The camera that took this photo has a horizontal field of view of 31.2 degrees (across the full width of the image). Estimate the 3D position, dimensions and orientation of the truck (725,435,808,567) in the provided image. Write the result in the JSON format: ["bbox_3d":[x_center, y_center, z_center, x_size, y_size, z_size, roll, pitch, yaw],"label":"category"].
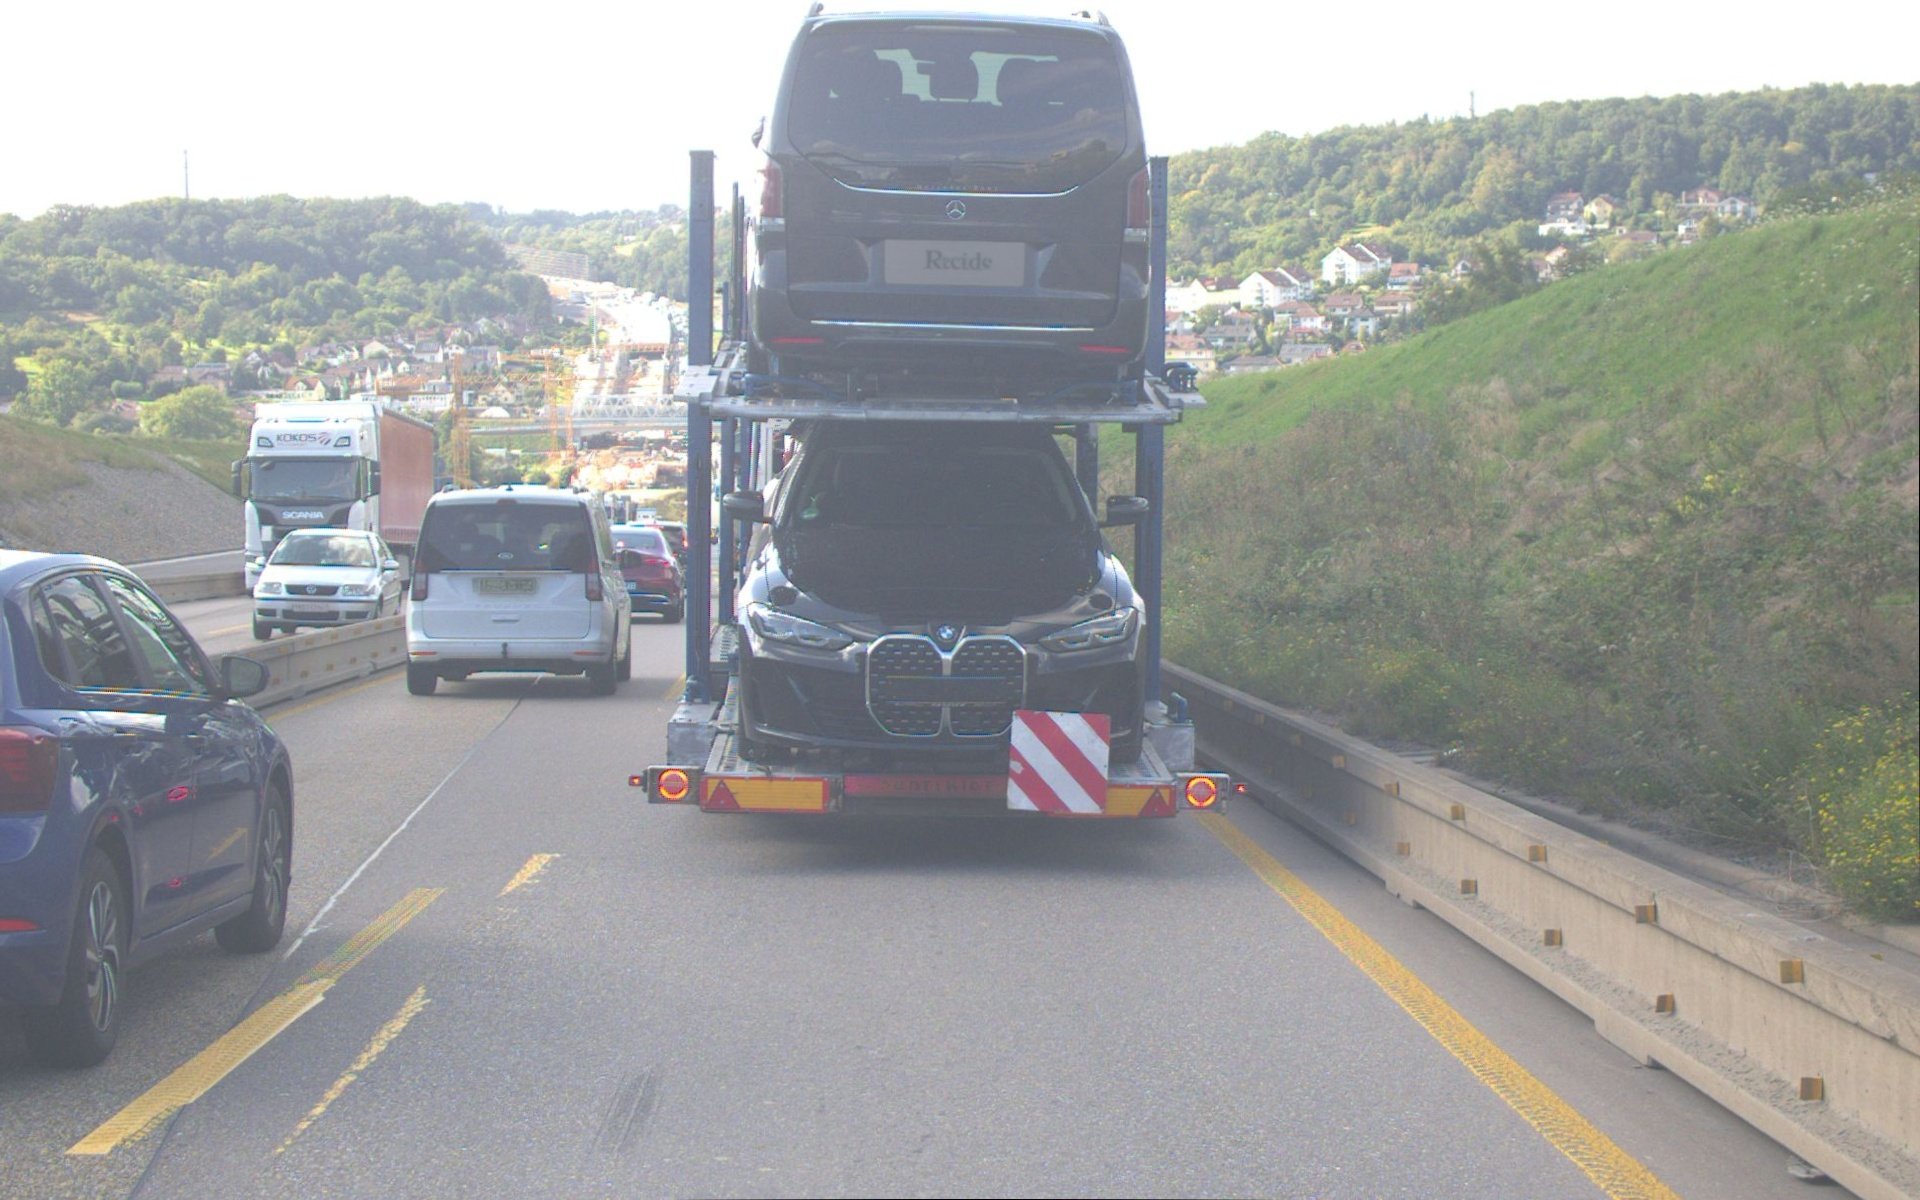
[{"bbox_3d":[-7.076,-3.549,124.576,2.863,4.555,11.660,0,1,-4],"label":"truck"}]

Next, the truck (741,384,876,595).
[{"bbox_3d":[-3.647,-2.537,80.179,2.863,4.555,11.660,0,1,-4],"label":"truck"}]

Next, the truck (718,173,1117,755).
[{"bbox_3d":[-0.365,-0.987,26.159,2.678,3.908,6.028,0,1,-2],"label":"truck"}]

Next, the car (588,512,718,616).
[{"bbox_3d":[-4.749,-0.595,53.626,1.823,1.487,4.685,1,2,-3],"label":"car"}]

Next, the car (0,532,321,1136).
[{"bbox_3d":[-3.176,0.548,10.640,1.715,1.503,4.000,1,1,-1],"label":"car"}]

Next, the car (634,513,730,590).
[{"bbox_3d":[-5.960,-1.072,74.145,1.993,1.619,4.751,0,1,-4],"label":"car"}]

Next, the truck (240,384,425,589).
[{"bbox_3d":[-13.360,-2.406,74.022,2.638,4.085,10.820,0,1,-4],"label":"truck"}]

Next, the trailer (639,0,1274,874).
[{"bbox_3d":[-0.174,-0.975,20.403,2.708,4.015,11.421,0,1,-2],"label":"trailer"}]

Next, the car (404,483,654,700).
[{"bbox_3d":[-3.872,-0.140,31.537,1.823,1.817,4.457,1,2,-2],"label":"car"}]

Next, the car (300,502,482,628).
[{"bbox_3d":[-8.340,-0.549,50.860,1.947,1.741,5.580,1,1,-2],"label":"car"}]

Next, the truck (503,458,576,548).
[{"bbox_3d":[-19.784,-4.551,162.153,2.638,4.085,10.820,0,1,-3],"label":"truck"}]

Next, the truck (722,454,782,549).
[{"bbox_3d":[-10.435,-4.897,171.886,2.863,4.555,11.660,0,1,-4],"label":"truck"}]
